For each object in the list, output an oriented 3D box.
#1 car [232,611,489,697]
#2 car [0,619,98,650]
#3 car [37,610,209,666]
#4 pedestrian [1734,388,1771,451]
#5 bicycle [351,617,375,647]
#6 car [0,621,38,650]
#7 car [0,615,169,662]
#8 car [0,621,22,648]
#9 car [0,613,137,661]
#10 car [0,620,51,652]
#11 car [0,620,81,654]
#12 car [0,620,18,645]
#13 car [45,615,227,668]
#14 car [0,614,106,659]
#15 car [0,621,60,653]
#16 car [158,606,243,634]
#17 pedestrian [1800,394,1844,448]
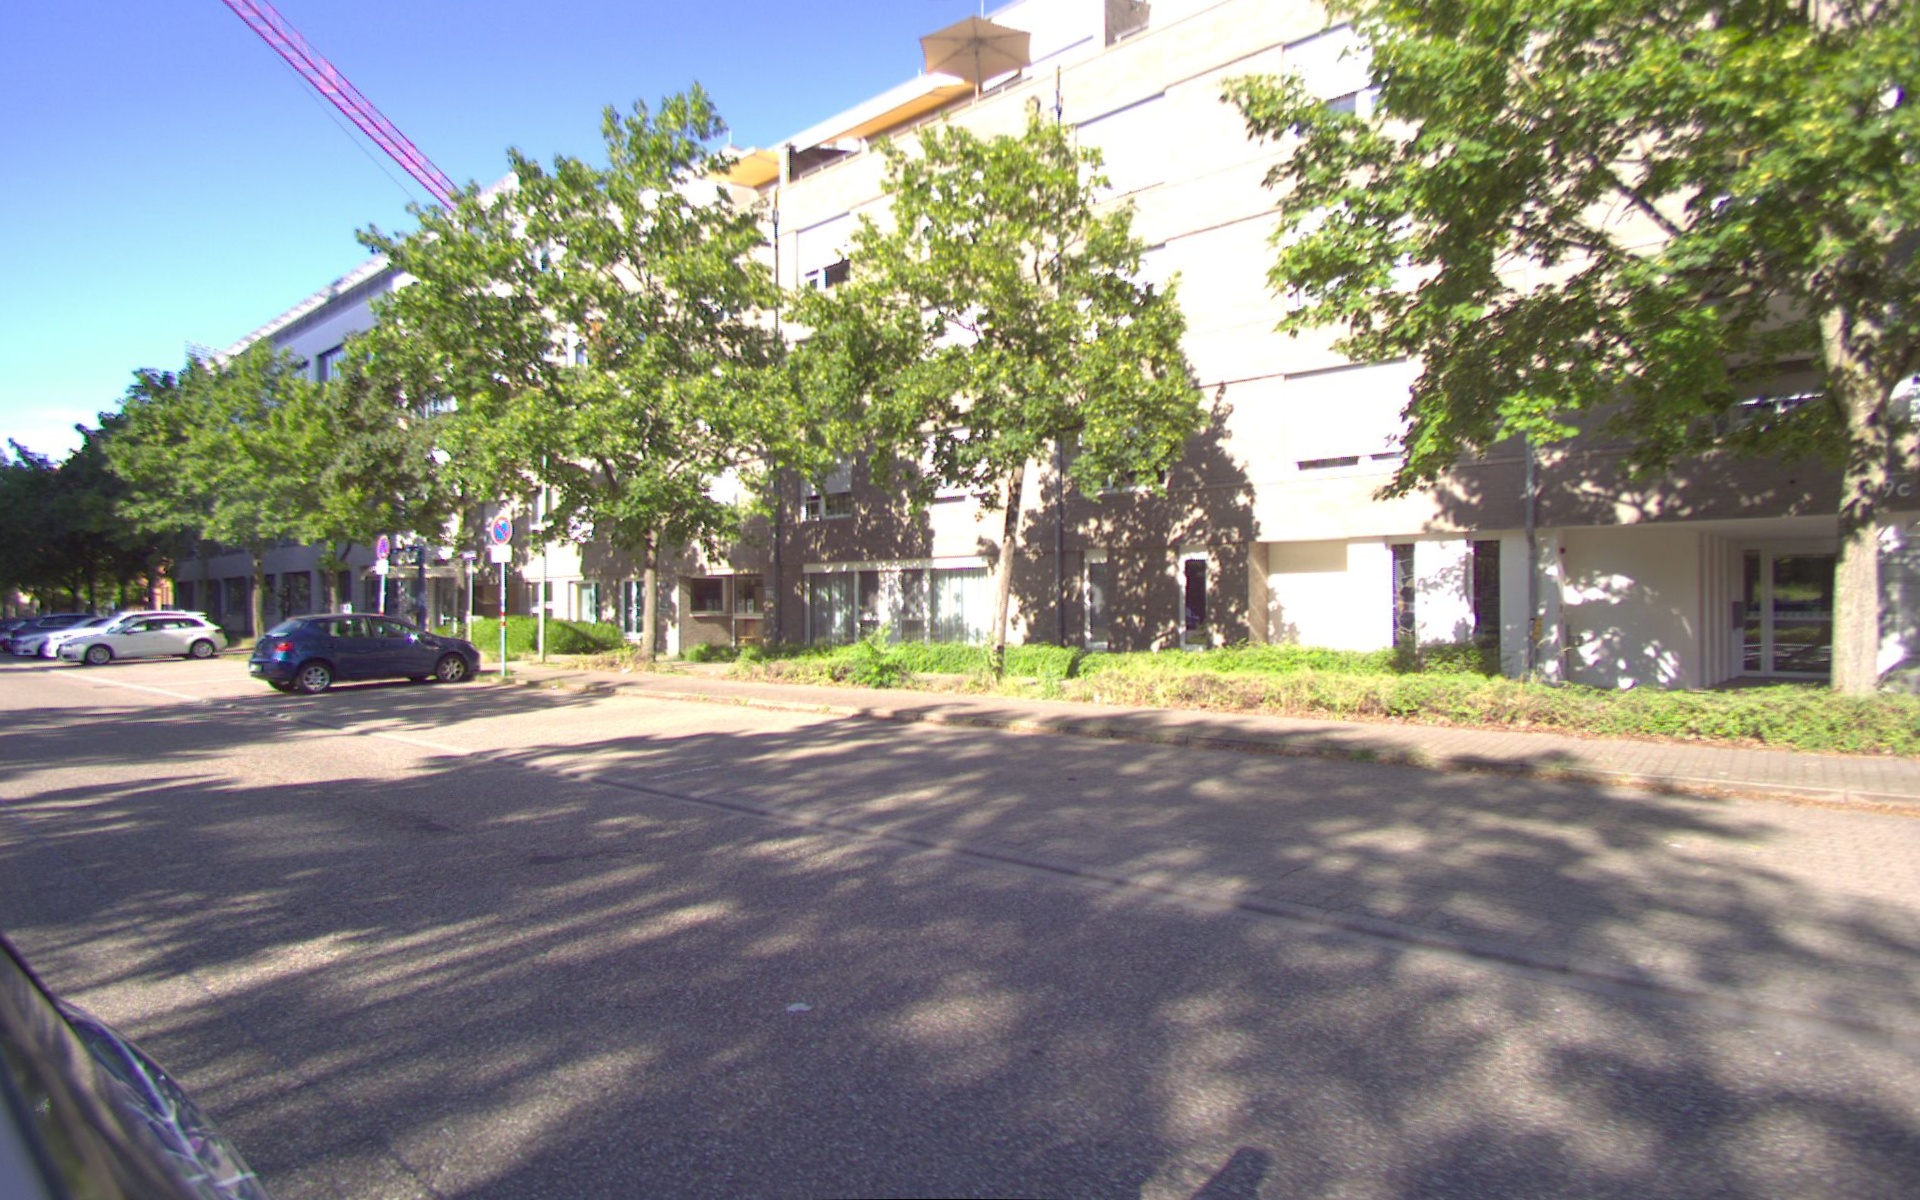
[{"bbox_3d":[-11.609,0.971,19.817,1.814,1.422,3.951,-1,0,37],"label":"car"},{"bbox_3d":[-46.597,1.729,51.779,1.655,1.456,3.497,-1,0,37],"label":"car"},{"bbox_3d":[-28.155,1.224,34.129,1.952,1.614,4.182,0,2,41],"label":"car"},{"bbox_3d":[11.839,-2.688,15.134,0.362,0.804,0.676,-1,0,33],"label":"pedestrian"},{"bbox_3d":[-24.035,1.292,40.727,1.627,1.184,0.334,-1,0,41],"label":"bicycle"},{"bbox_3d":[-51.100,1.892,53.345,1.645,1.517,3.495,-1,0,39],"label":"car"},{"bbox_3d":[-32.129,1.360,37.202,1.937,1.462,4.468,-1,1,36],"label":"car"},{"bbox_3d":[-54.450,1.940,56.522,1.388,1.454,2.896,-1,0,40],"label":"car"},{"bbox_3d":[-34.537,1.388,39.066,1.802,1.632,4.069,-1,0,42],"label":"car"},{"bbox_3d":[-49.065,1.852,51.876,1.656,1.541,3.483,-1,0,39],"label":"car"},{"bbox_3d":[-43.139,1.733,46.600,1.685,1.424,3.785,-3,0,39],"label":"car"},{"bbox_3d":[-61.587,2.086,63.404,1.616,1.519,3.586,-1,0,38],"label":"car"},{"bbox_3d":[-25.976,1.260,32.023,1.798,1.491,4.216,-1,-1,39],"label":"car"},{"bbox_3d":[-37.968,1.505,42.091,1.654,1.681,3.534,-1,0,43],"label":"car"},{"bbox_3d":[-45.738,1.797,48.648,1.656,1.447,3.495,-1,0,39],"label":"car"},{"bbox_3d":[-62.016,1.582,82.714,1.930,2.114,5.264,-1,0,38],"label":"car"},{"bbox_3d":[12.743,-2.637,14.967,0.426,0.691,0.412,-1,0,32],"label":"pedestrian"}]
